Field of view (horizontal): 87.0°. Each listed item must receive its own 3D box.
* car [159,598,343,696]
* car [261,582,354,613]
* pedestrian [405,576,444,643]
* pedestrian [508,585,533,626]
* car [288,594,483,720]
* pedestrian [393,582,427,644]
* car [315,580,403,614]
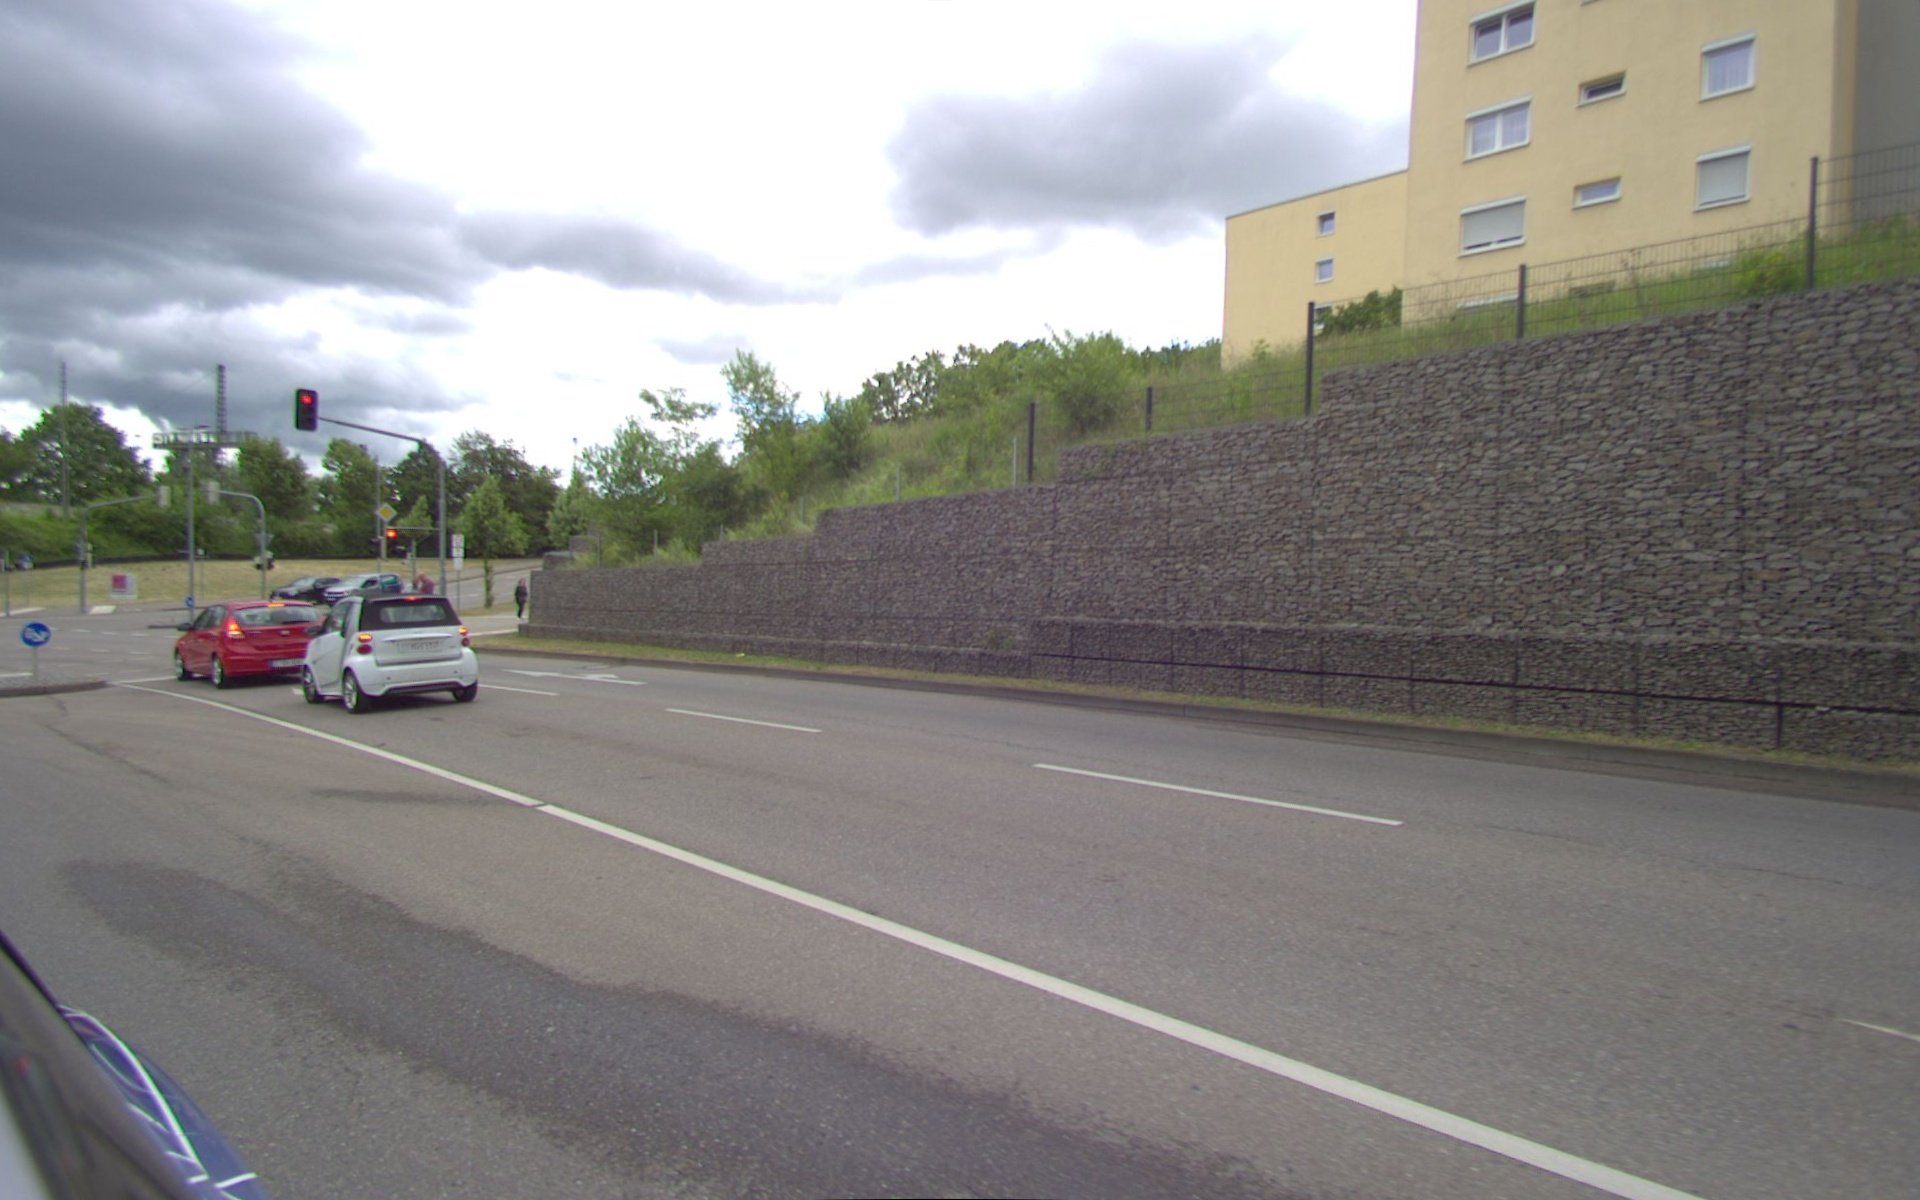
[{"bbox_3d":[-12.973,0.763,18.432,4.090,1.534,1.737,0,2,40],"label":"car"},{"bbox_3d":[-37.239,-0.176,57.904,2.089,1.562,4.248,0,2,12],"label":"car"},{"bbox_3d":[-14.964,0.259,28.287,0.659,1.841,0.621,0,2,15],"label":"pedestrian"},{"bbox_3d":[-16.990,0.214,39.123,0.621,1.569,0.575,0,2,28],"label":"pedestrian"},{"bbox_3d":[-8.153,0.723,14.300,2.914,1.535,1.527,-1,2,42],"label":"car"},{"bbox_3d":[-15.497,0.356,28.538,0.654,1.691,0.626,-1,2,-14],"label":"pedestrian"},{"bbox_3d":[-33.465,-0.197,56.480,1.743,1.741,4.244,0,2,14],"label":"car"}]
